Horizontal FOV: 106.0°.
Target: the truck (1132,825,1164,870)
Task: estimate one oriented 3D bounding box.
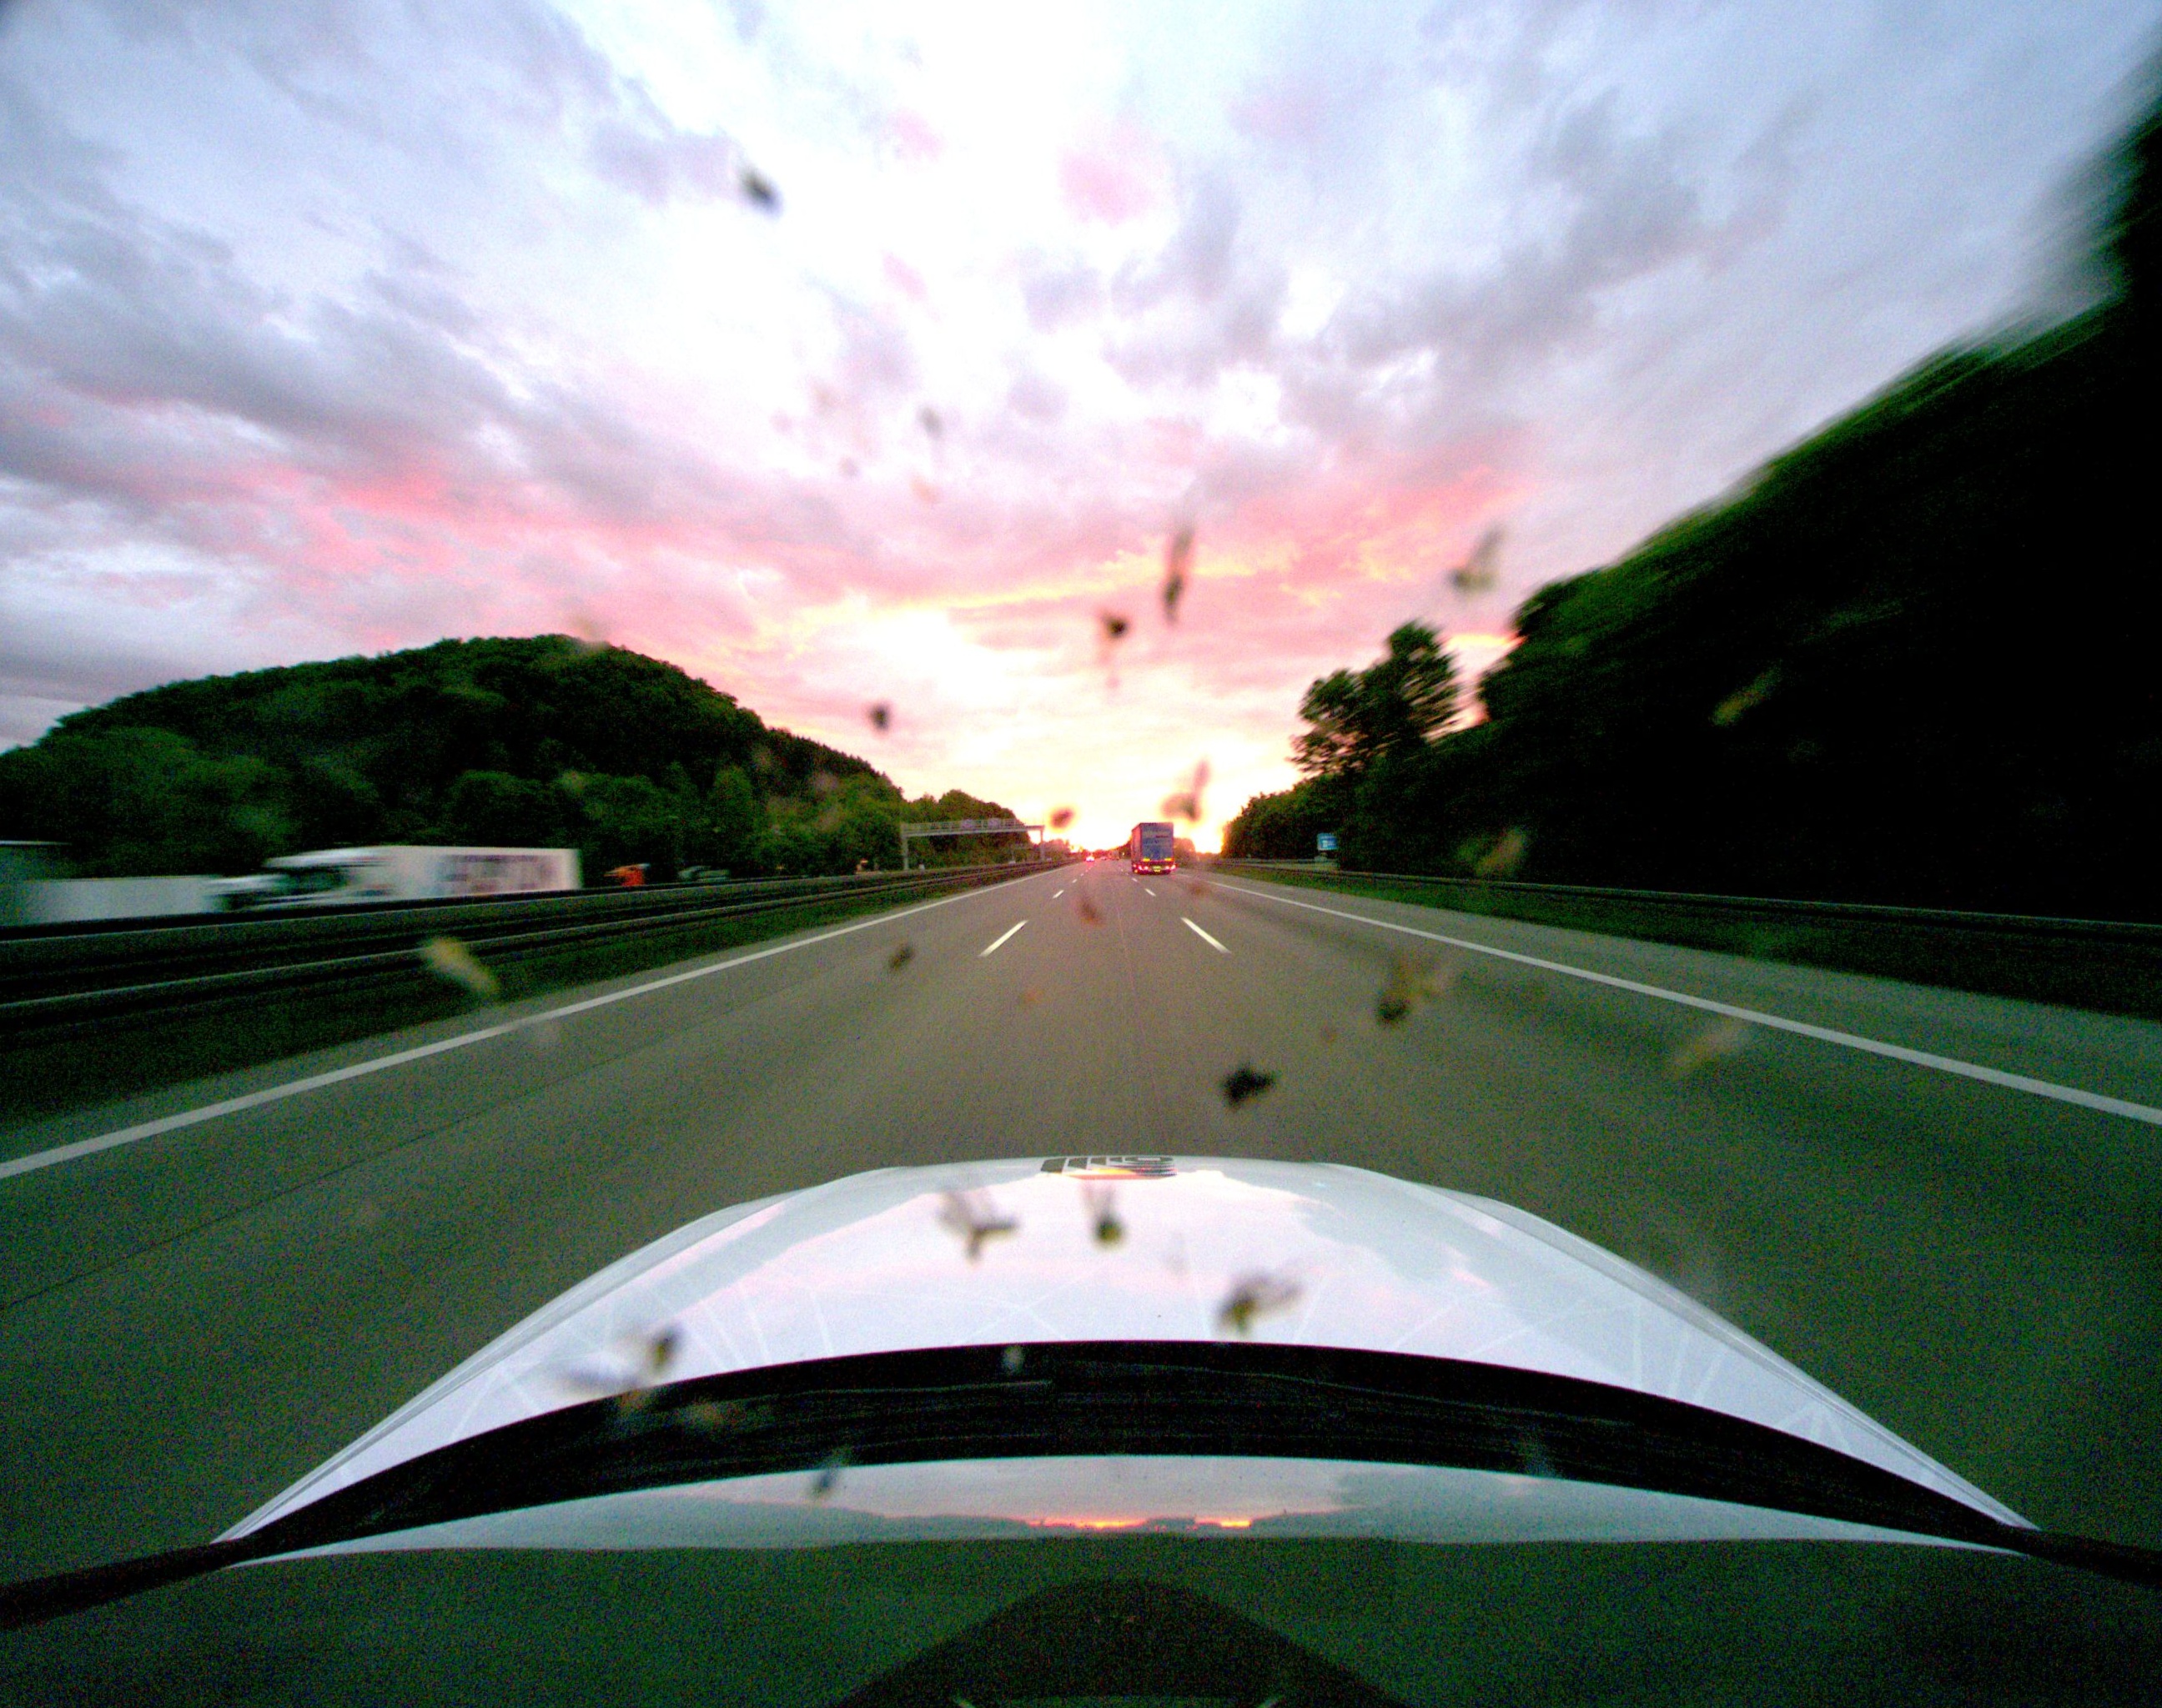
[{"bbox_3d":[6.188,-0.535,75.975,2.726,3.996,5.852,-1,-1,2],"label":"truck"}]

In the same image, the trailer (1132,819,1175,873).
[{"bbox_3d":[5.971,-0.580,68.961,2.761,4.086,13.744,-1,0,2],"label":"trailer"}]

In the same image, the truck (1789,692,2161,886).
[{"bbox_3d":[25.534,-1.507,16.904,3.766,4.229,19.503,-2,0,-3],"label":"truck"}]

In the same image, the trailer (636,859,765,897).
[{"bbox_3d":[-41.941,2.556,90.488,3.032,3.679,13.428,-2,0,32],"label":"trailer"}]

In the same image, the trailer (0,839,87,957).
[{"bbox_3d":[-33.070,1.318,18.768,2.862,3.425,13.859,-1,0,2],"label":"trailer"}]

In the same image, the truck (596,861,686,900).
[{"bbox_3d":[-45.593,2.672,84.627,2.975,3.679,7.727,-2,0,32],"label":"truck"}]

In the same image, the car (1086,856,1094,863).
[{"bbox_3d":[2.600,1.496,227.109,2.006,1.749,3.904,-5,0,1],"label":"car"}]

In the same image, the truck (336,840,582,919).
[{"bbox_3d":[-31.847,1.132,43.061,2.866,3.425,13.776,-1,0,-3],"label":"truck"}]

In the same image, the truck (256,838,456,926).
[{"bbox_3d":[-31.580,1.114,35.948,2.866,3.425,6.721,-1,0,-2],"label":"truck"}]

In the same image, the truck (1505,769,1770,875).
[{"bbox_3d":[24.126,-1.155,36.716,2.834,3.916,11.968,-2,0,-5],"label":"truck"}]
